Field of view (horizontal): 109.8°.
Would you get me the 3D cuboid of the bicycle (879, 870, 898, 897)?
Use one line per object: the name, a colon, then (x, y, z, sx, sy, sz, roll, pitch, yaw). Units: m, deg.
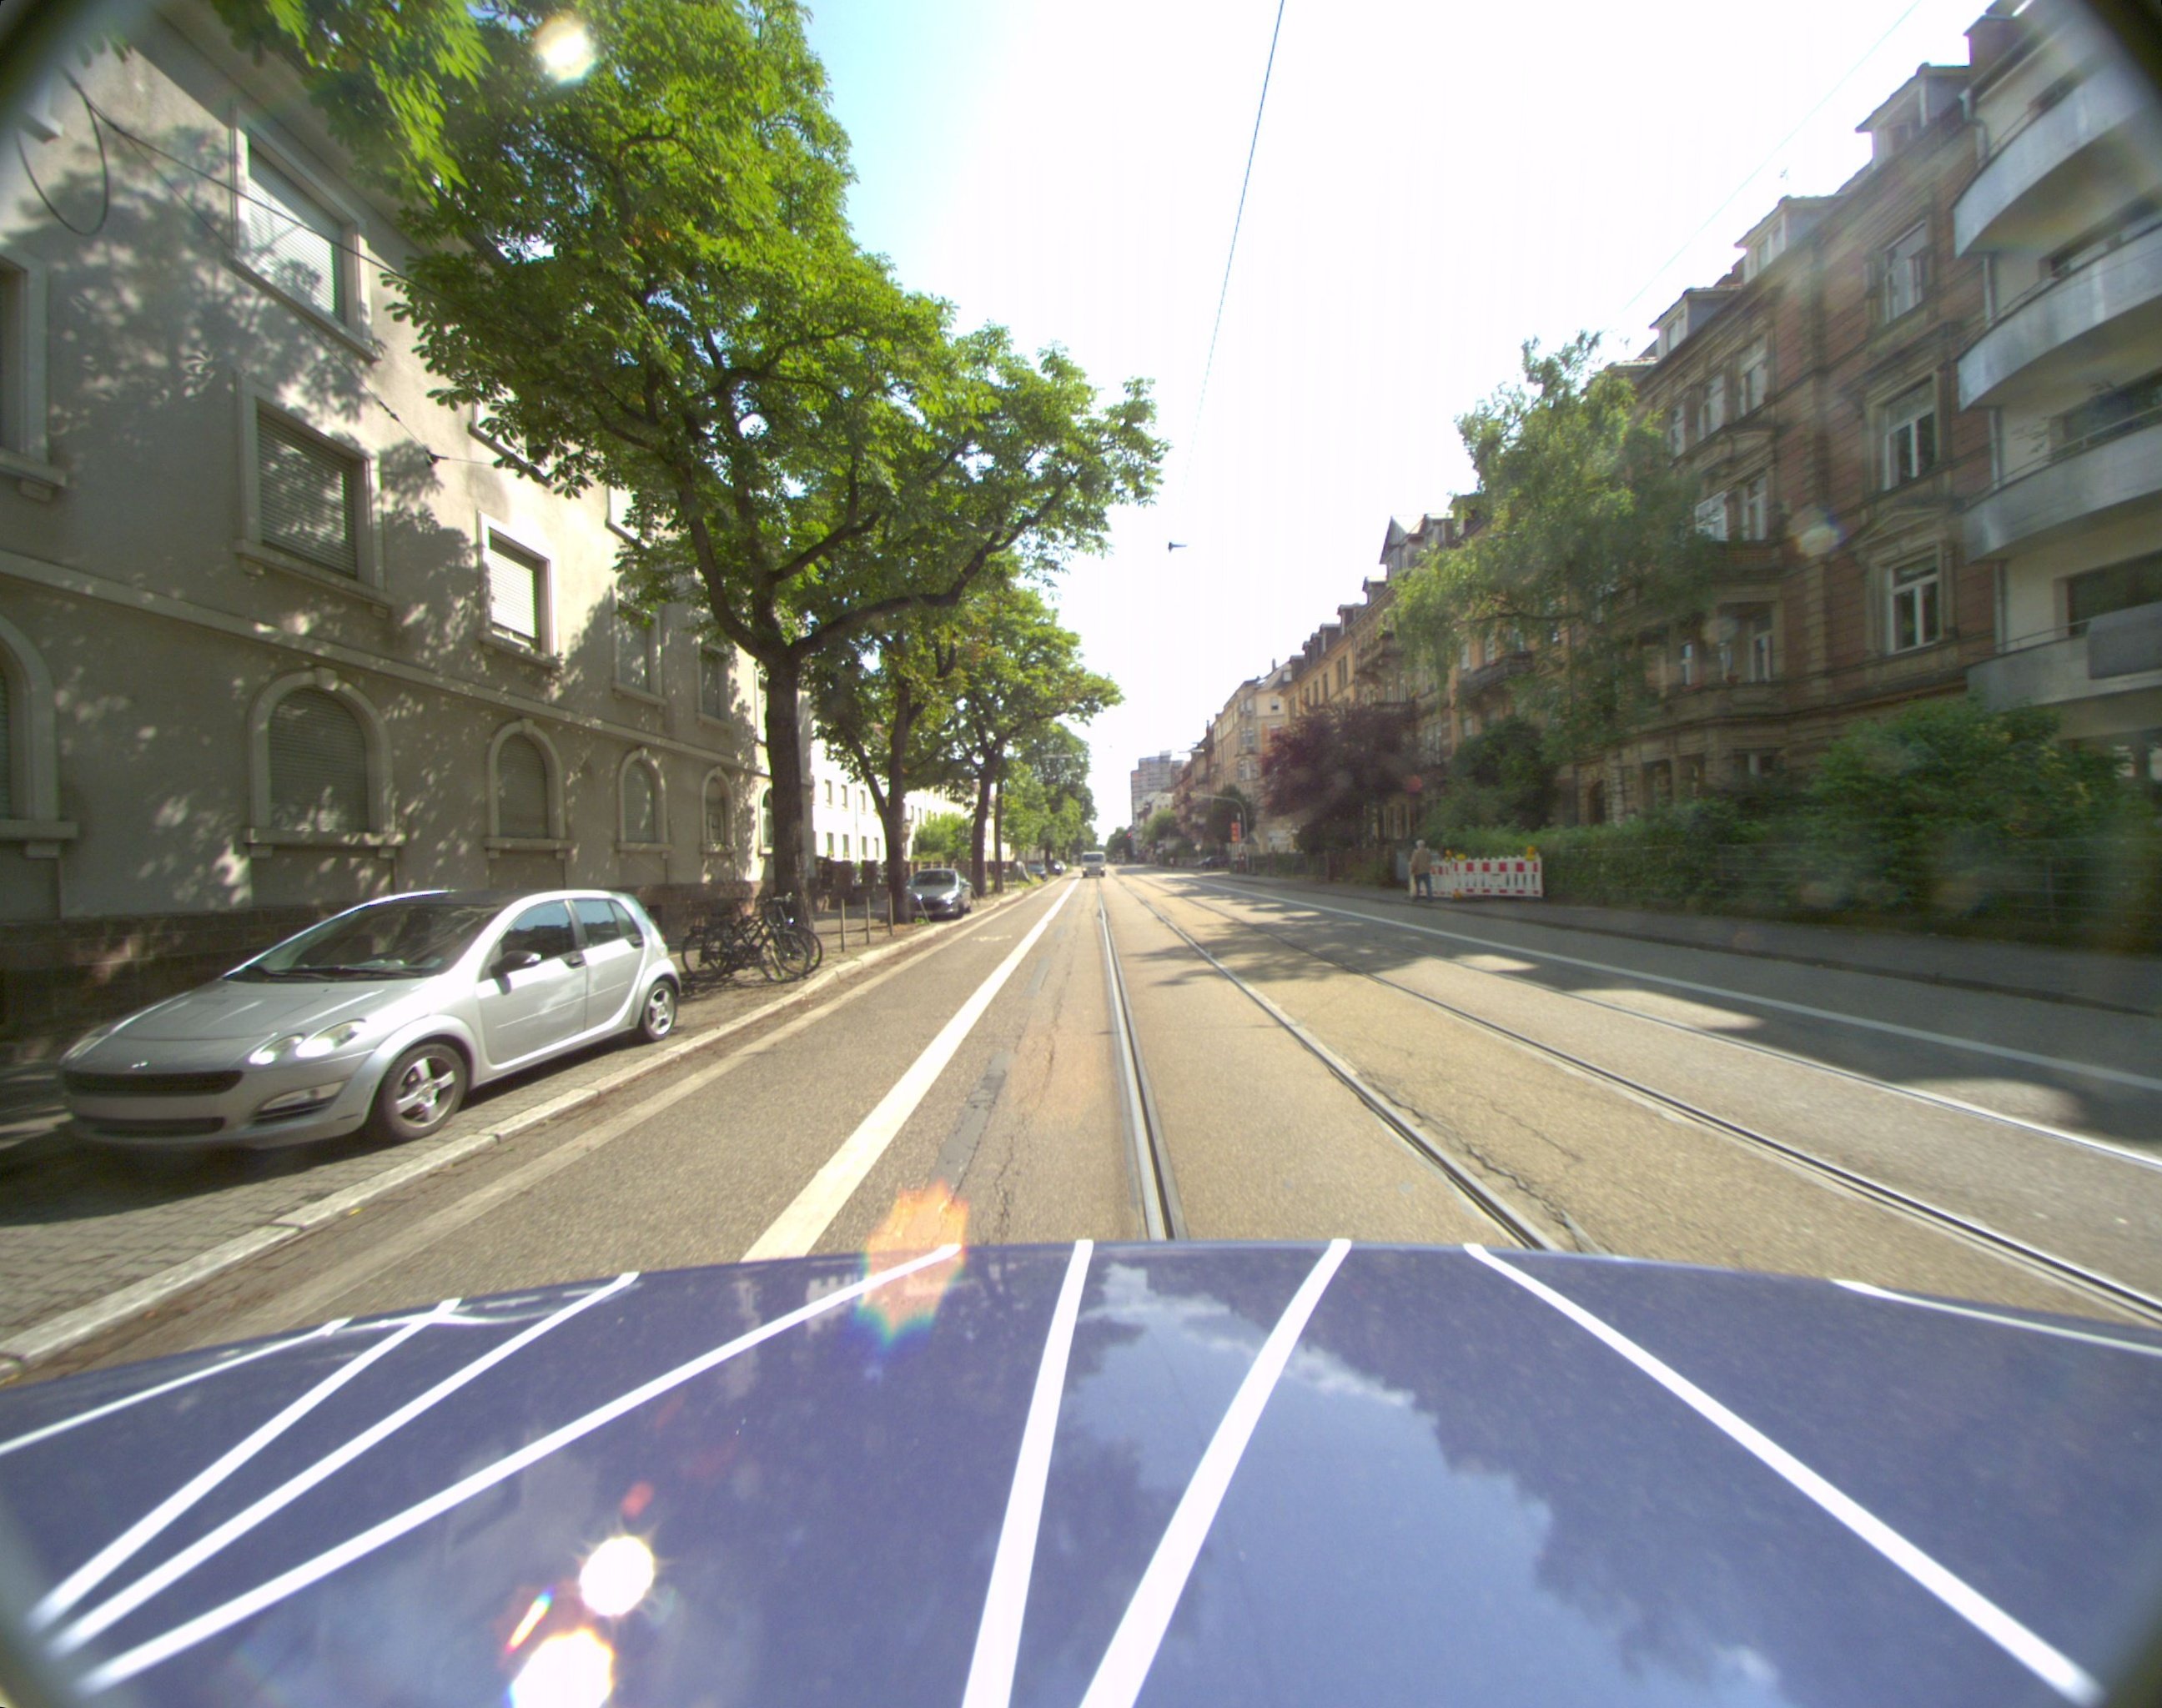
bicycle: (-9.050, 1.364, 35.774, 0.413, 1.204, 1.704, -2, 0, 2)

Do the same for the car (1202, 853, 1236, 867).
car: (15.974, 0.721, 88.185, 3.611, 1.394, 1.787, -3, 0, 5)

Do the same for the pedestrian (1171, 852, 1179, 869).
pedestrian: (10.186, 0.715, 82.459, 0.534, 1.750, 1.106, -4, 0, 1)

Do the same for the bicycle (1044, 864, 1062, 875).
bicycle: (-2.824, 1.556, 76.214, 1.712, 1.001, 0.638, -2, 0, 1)

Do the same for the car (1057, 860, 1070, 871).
car: (-2.492, 1.646, 110.575, 1.665, 1.512, 4.288, -3, 0, 0)

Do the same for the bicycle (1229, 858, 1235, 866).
bicycle: (16.230, 0.860, 81.616, 0.524, 0.832, 1.700, -2, -1, 14)

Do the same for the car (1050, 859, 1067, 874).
car: (-2.654, 1.453, 91.066, 1.867, 1.643, 4.638, -2, 0, 1)

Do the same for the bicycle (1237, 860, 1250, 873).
bicycle: (11.968, 0.903, 56.039, 0.531, 0.941, 1.968, -2, 0, 1)

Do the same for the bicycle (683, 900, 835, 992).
bicycle: (-4.393, 1.240, 10.382, 1.940, 1.169, 0.513, -1, 1, 13)

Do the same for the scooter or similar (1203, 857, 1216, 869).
scooter or similar: (13.720, 0.973, 81.350, 1.367, 1.227, 0.403, -3, 0, -27)

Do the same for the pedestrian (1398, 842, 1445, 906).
pedestrian: (9.447, 0.543, 21.123, 0.825, 1.696, 0.891, -2, 0, -2)

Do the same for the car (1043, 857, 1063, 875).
car: (-2.931, 1.294, 81.094, 1.831, 1.772, 4.733, -2, -1, 1)

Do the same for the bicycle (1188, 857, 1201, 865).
bicycle: (13.382, 0.824, 89.947, 1.456, 0.971, 0.404, -2, 0, 1)

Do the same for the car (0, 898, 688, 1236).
car: (-4.741, 1.142, 5.576, 1.670, 1.422, 3.766, 0, 0, 1)

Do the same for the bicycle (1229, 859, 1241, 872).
bicycle: (12.107, 0.897, 59.709, 0.531, 0.941, 1.968, -2, 0, 1)

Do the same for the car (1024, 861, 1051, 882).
car: (-3.456, 1.408, 61.031, 1.710, 1.470, 4.197, -4, 0, 1)

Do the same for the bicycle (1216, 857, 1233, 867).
bicycle: (15.912, 0.903, 84.116, 1.759, 1.057, 0.524, -2, -1, -5)

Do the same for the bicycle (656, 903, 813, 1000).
bicycle: (-4.497, 1.247, 9.870, 1.897, 1.169, 0.513, -1, 1, 13)

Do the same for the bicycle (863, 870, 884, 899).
bicycle: (-9.245, 1.344, 33.903, 0.413, 1.204, 1.704, -2, 0, 2)

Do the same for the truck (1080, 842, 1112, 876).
truck: (1.246, 0.444, 67.201, 2.532, 2.721, 6.515, -2, -1, -1)

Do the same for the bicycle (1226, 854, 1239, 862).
bicycle: (17.966, 0.472, 90.248, 1.456, 0.971, 0.404, -2, 0, 1)

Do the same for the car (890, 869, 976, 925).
car: (-4.284, 1.192, 22.622, 1.851, 1.401, 4.394, 0, 0, -2)

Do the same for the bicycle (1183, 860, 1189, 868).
bicycle: (12.909, 1.223, 93.375, 0.422, 0.971, 1.949, -2, 0, 0)

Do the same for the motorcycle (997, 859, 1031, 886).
motorcycle: (-4.053, 1.148, 46.053, 0.680, 1.588, 2.381, -2, 0, -43)
